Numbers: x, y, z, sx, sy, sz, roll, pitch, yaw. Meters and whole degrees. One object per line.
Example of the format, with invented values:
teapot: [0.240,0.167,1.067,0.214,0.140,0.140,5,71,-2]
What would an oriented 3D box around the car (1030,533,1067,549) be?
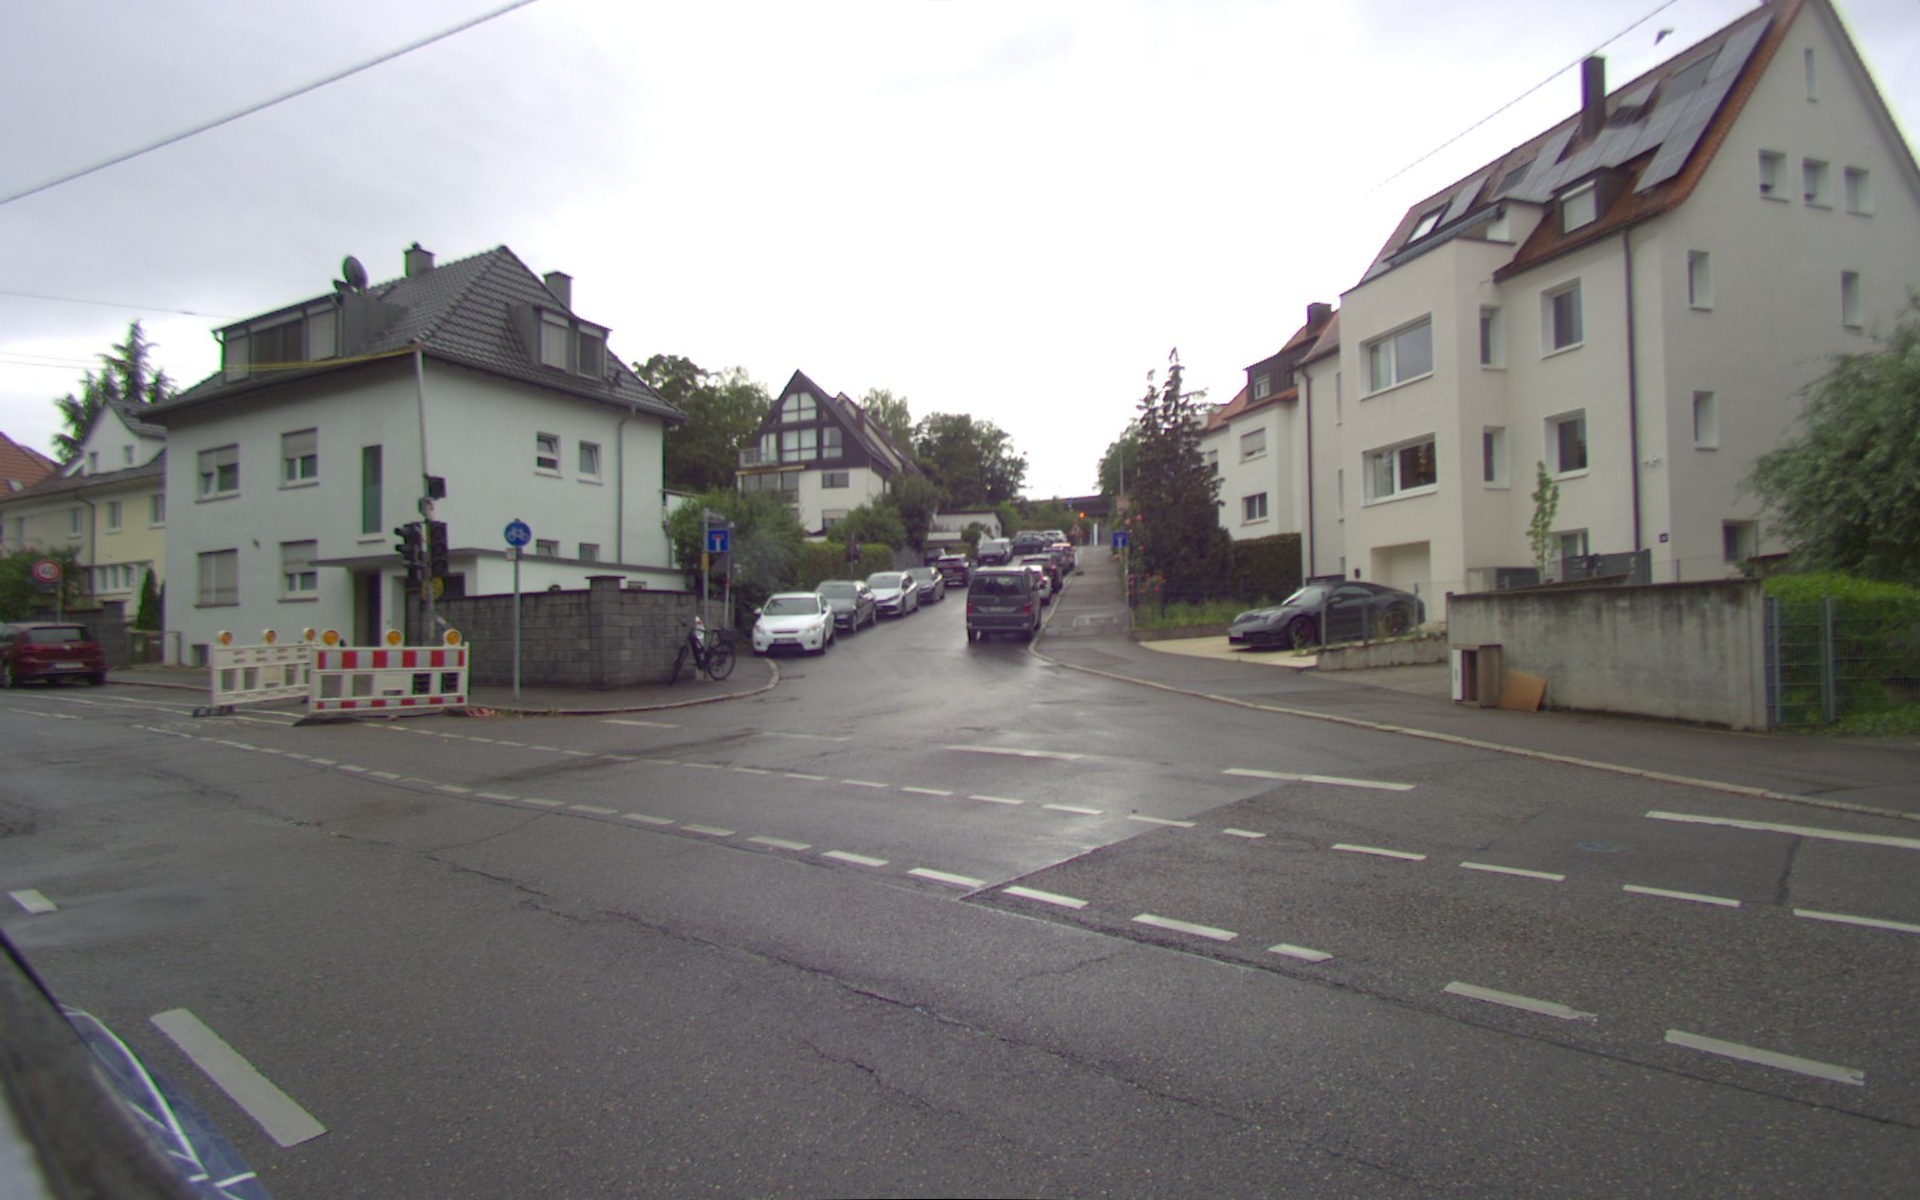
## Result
car: [9.070,-6.069,103.812,3.492,1.510,1.614,-1,6,18]

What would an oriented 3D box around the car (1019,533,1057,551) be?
car: [7.636,-5.655,98.766,3.489,1.510,1.615,-1,6,16]

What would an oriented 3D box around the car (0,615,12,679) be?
car: [-25.808,1.275,25.666,3.993,1.601,1.652,-3,-1,33]

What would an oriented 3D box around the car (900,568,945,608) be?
car: [-1.551,-0.523,42.608,1.320,1.400,3.497,-1,5,7]

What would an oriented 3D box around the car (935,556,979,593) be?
car: [-0.125,-1.361,52.319,1.323,1.566,3.971,-1,6,13]

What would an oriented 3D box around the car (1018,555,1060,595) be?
car: [3.570,-1.136,45.249,1.565,1.479,3.553,-2,5,9]

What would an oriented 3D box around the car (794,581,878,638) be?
car: [-3.826,0.239,31.795,1.684,1.476,3.847,-2,3,7]

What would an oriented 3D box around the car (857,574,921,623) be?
car: [-2.532,-0.096,36.962,1.564,1.476,3.847,-1,5,7]

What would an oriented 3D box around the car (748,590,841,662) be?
car: [-4.151,0.602,25.871,1.726,1.476,3.561,-2,3,0]

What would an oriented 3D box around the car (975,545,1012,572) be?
car: [2.311,-2.857,68.729,1.720,1.510,3.817,-1,6,13]

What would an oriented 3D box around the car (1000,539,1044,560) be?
car: [5.135,-4.213,83.775,3.572,1.510,1.578,-2,5,7]

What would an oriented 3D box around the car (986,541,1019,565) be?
car: [3.216,-3.541,75.496,1.720,1.510,3.817,-1,6,13]

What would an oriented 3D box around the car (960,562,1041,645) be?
car: [1.233,0.040,29.004,1.893,1.950,3.789,-2,5,9]

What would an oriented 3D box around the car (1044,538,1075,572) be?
car: [6.197,-2.812,62.758,1.677,1.871,3.553,-2,5,9]

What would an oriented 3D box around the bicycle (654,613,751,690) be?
bicycle: [-4.695,0.909,18.551,0.705,1.321,1.713,-1,0,33]

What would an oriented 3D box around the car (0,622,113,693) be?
car: [-21.469,1.343,23.374,3.785,1.505,1.877,-3,-3,33]

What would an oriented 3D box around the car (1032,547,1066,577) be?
car: [5.162,-2.224,58.287,1.677,1.479,3.553,-2,5,9]

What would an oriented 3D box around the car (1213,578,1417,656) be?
car: [7.632,0.335,21.820,3.857,1.342,1.572,-4,1,-16]

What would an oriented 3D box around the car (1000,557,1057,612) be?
car: [2.740,-0.652,39.812,1.900,1.850,3.406,-2,5,9]
